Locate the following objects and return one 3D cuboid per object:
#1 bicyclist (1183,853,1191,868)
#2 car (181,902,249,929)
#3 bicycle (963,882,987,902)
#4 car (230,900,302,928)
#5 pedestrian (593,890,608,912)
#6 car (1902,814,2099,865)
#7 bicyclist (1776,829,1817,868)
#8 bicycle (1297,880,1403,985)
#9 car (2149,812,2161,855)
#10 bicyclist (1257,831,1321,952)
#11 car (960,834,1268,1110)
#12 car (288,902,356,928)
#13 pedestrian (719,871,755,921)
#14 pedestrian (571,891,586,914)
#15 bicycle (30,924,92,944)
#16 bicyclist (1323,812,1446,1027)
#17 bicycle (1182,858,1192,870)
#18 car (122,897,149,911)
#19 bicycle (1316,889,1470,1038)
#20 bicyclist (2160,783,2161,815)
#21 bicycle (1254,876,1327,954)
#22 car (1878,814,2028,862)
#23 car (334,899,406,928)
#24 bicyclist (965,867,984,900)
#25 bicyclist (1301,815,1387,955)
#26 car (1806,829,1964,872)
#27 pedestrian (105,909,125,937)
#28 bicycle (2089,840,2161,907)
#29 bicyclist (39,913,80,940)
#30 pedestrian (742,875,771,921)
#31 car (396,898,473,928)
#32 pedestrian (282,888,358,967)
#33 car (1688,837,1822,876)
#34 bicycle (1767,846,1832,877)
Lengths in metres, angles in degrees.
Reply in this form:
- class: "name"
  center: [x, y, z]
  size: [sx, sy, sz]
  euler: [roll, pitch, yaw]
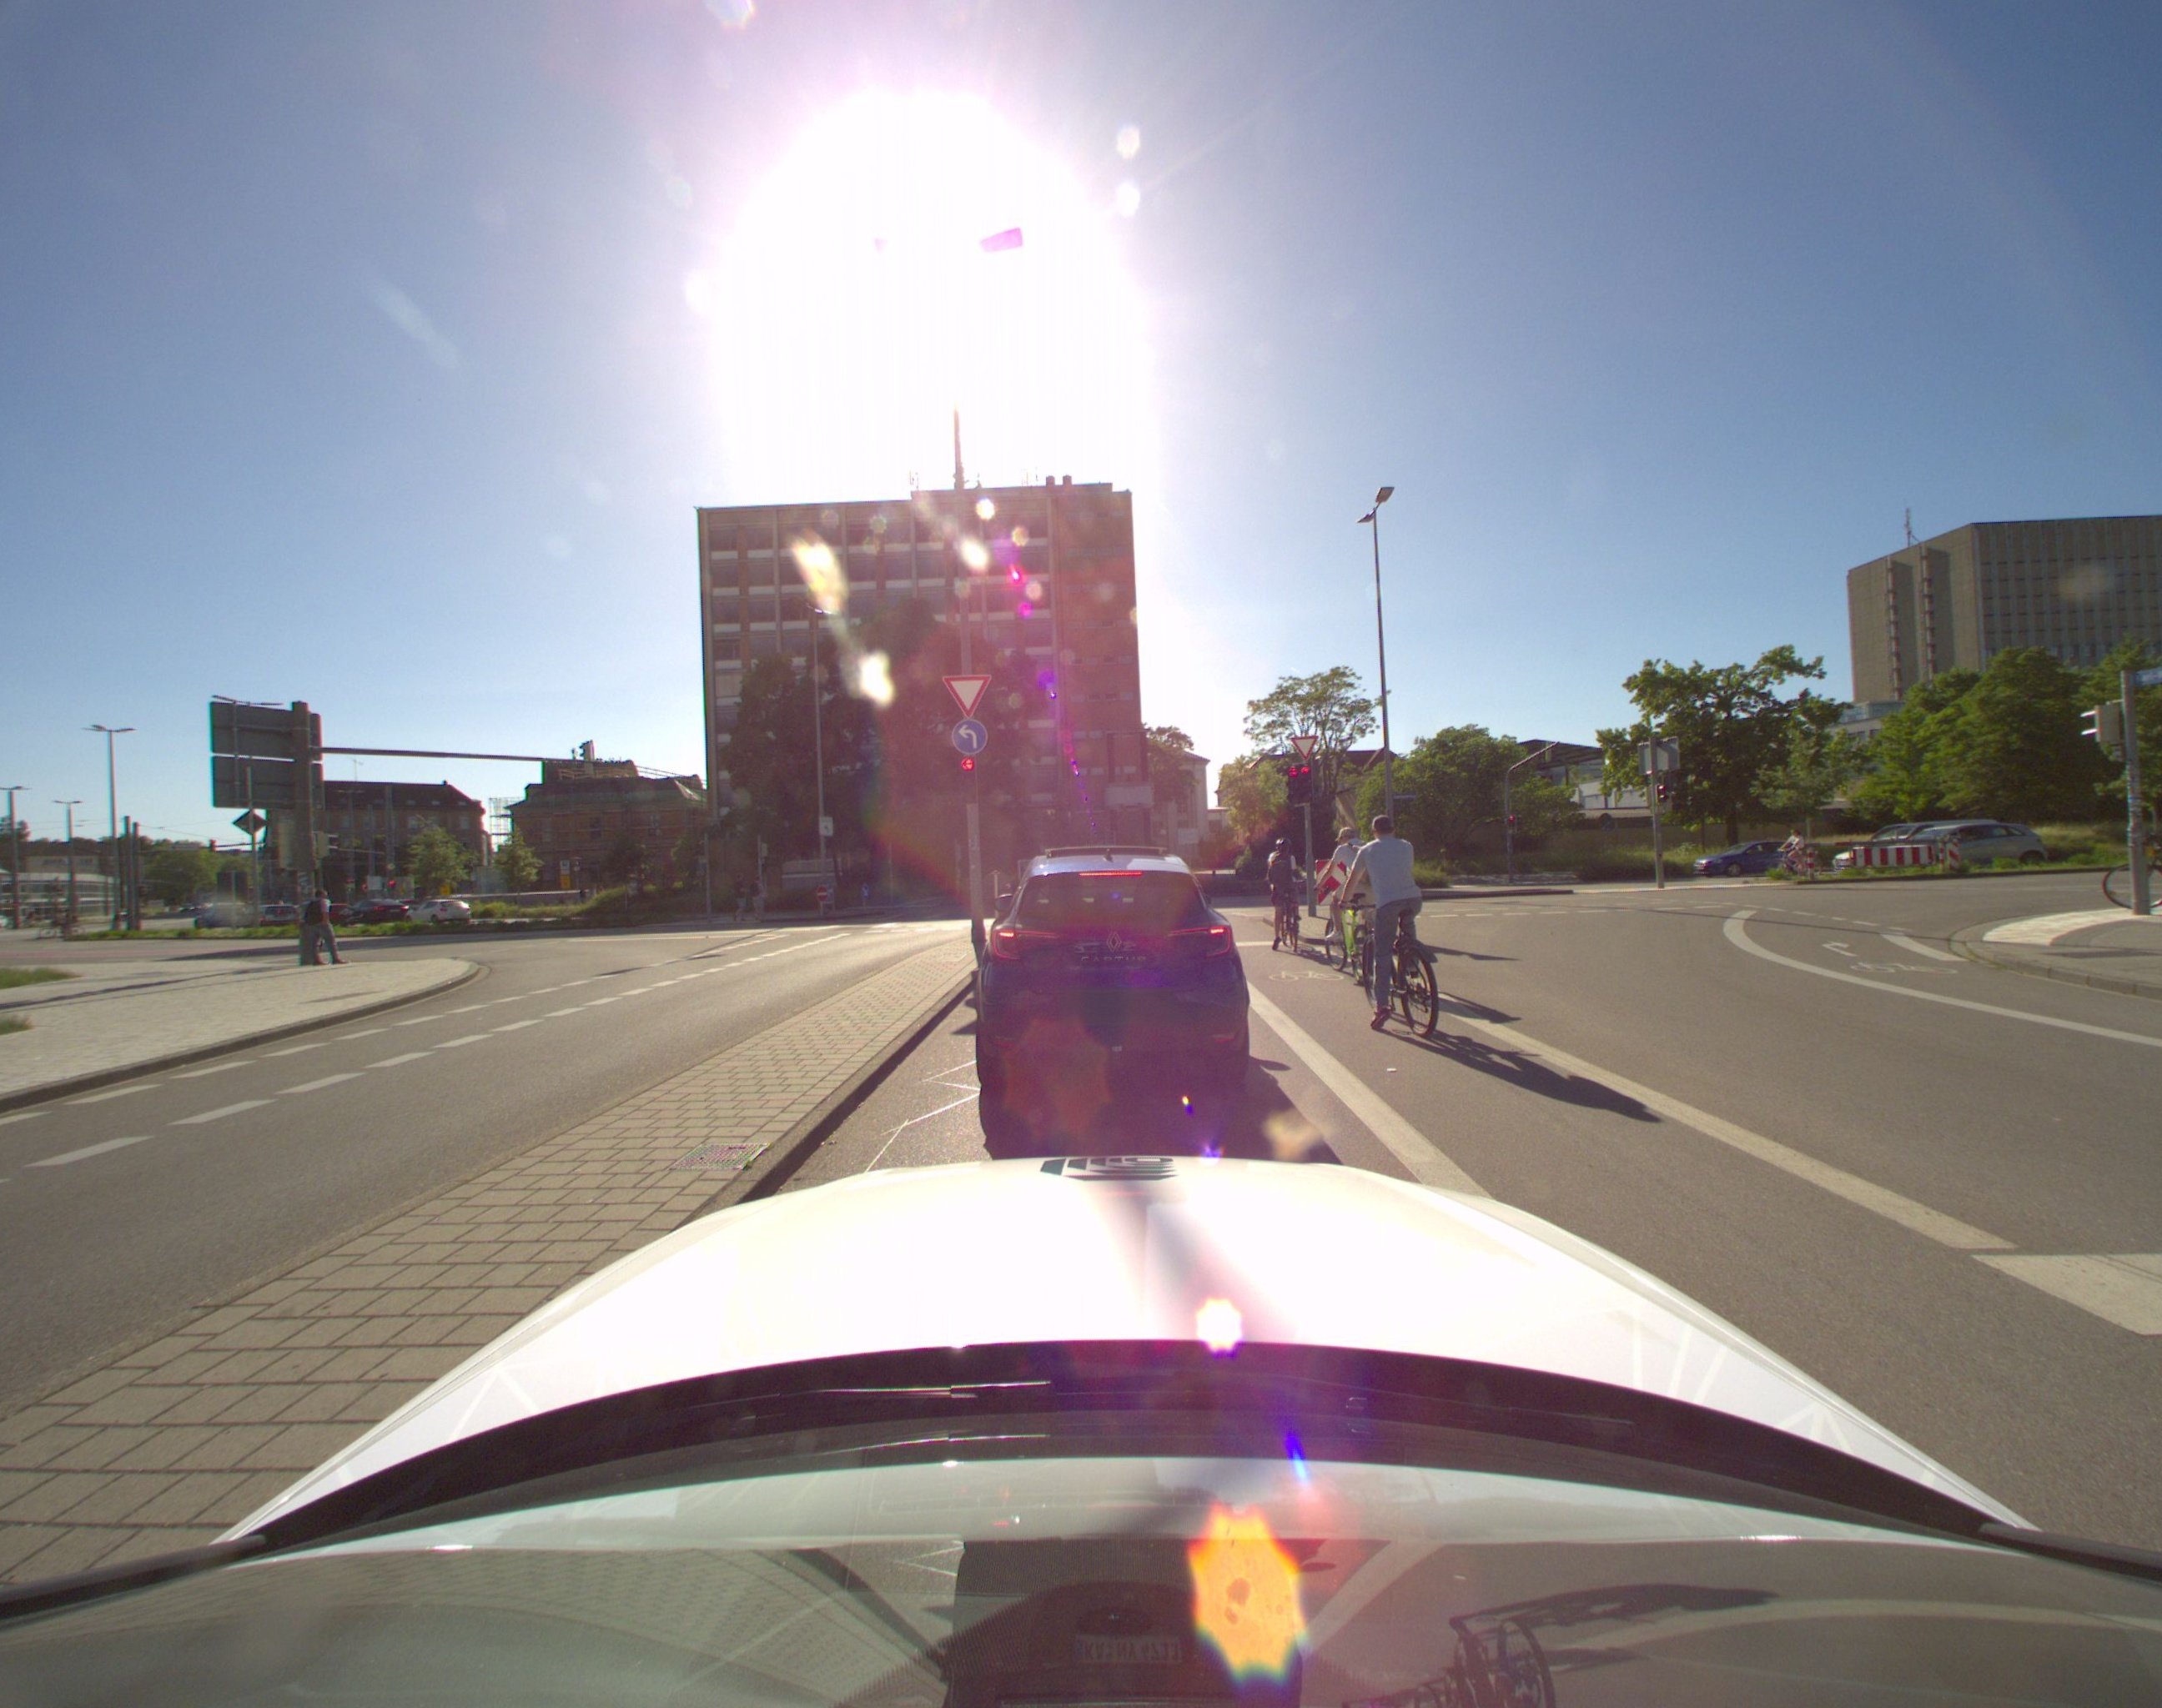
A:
- class: "bicyclist"
  center: [11.007, 0.659, 84.317]
  size: [0.692, 1.481, 0.717]
  euler: [-2, -1, 1]
- class: "car"
  center: [-54.910, 3.892, 51.643]
  size: [3.834, 1.508, 1.805]
  euler: [-3, -1, 25]
- class: "bicycle"
  center: [-5.725, 2.044, 44.175]
  size: [0.751, 0.985, 2.098]
  euler: [-2, 0, 8]
- class: "car"
  center: [-48.861, 3.605, 48.810]
  size: [3.834, 1.508, 1.805]
  euler: [-3, -1, 25]
- class: "pedestrian"
  center: [-39.552, 3.850, 67.019]
  size: [0.678, 1.730, 0.761]
  euler: [-2, -1, -1]
- class: "car"
  center: [29.222, -0.433, 26.003]
  size: [3.965, 1.398, 1.798]
  euler: [-3, -1, 7]
- class: "bicyclist"
  center: [25.410, -0.180, 28.938]
  size: [0.870, 1.343, 0.612]
  euler: [-2, -1, 7]
- class: "bicycle"
  center: [3.198, 0.890, 9.882]
  size: [0.687, 1.089, 1.923]
  euler: [-1, 0, 2]
- class: "car"
  center: [36.903, -0.763, 25.332]
  size: [4.534, 1.398, 1.798]
  euler: [-3, -1, 7]
- class: "bicyclist"
  center: [3.213, 0.559, 12.651]
  size: [0.697, 1.791, 1.142]
  euler: [-1, -1, 2]
- class: "car"
  center: [0.198, 0.705, 6.769]
  size: [1.783, 1.585, 3.913]
  euler: [-1, 0, 0]
- class: "car"
  center: [-48.204, 3.870, 51.715]
  size: [3.834, 1.508, 1.805]
  euler: [-3, -1, 25]
- class: "pedestrian"
  center: [-13.293, 1.630, 31.467]
  size: [0.807, 1.862, 0.913]
  euler: [-3, -1, 15]
- class: "pedestrian"
  center: [-39.911, 3.834, 64.717]
  size: [0.680, 1.730, 0.759]
  euler: [-2, -1, -7]
- class: "bicycle"
  center: [-65.860, 5.167, 52.615]
  size: [0.800, 1.062, 2.434]
  euler: [-1, -1, 42]
- class: "bicyclist"
  center: [2.726, 0.555, 7.429]
  size: [0.680, 1.791, 1.142]
  euler: [-1, -1, 2]
- class: "bicycle"
  center: [11.021, 1.043, 84.583]
  size: [0.692, 1.140, 2.441]
  euler: [-2, 0, 1]
- class: "car"
  center: [-153.163, 8.148, 131.973]
  size: [2.008, 2.014, 3.956]
  euler: [0, -1, -35]
- class: "bicycle"
  center: [2.725, 0.899, 7.350]
  size: [0.687, 1.089, 1.923]
  euler: [-1, 0, 2]
- class: "bicyclist"
  center: [16.027, -0.225, 11.475]
  size: [0.635, 1.646, 0.903]
  euler: [-2, -1, -39]
- class: "bicycle"
  center: [3.259, 0.919, 12.850]
  size: [0.687, 1.089, 1.923]
  euler: [-1, 0, 2]
- class: "car"
  center: [35.873, -0.618, 33.609]
  size: [3.965, 1.749, 1.798]
  euler: [-3, -1, 7]
- class: "car"
  center: [-42.548, 3.564, 48.745]
  size: [3.834, 1.508, 1.805]
  euler: [-3, -1, 25]
- class: "bicyclist"
  center: [-5.758, 1.609, 44.074]
  size: [0.751, 1.716, 1.001]
  euler: [-2, -1, 7]
- class: "bicyclist"
  center: [3.174, 0.357, 9.928]
  size: [0.676, 1.594, 1.142]
  euler: [-1, -1, 2]
- class: "car"
  center: [30.298, -0.136, 30.794]
  size: [3.965, 1.398, 1.798]
  euler: [-3, -1, 7]
- class: "pedestrian"
  center: [-63.292, 4.490, 53.368]
  size: [0.697, 1.762, 0.781]
  euler: [-3, -1, 42]
- class: "bicycle"
  center: [15.916, 0.268, 11.628]
  size: [0.640, 0.958, 1.866]
  euler: [-2, -1, -39]
- class: "bicyclist"
  center: [-65.921, 4.654, 52.562]
  size: [0.800, 1.634, 1.585]
  euler: [-1, -1, 41]
- class: "pedestrian"
  center: [-12.436, 1.680, 31.218]
  size: [0.675, 1.730, 0.764]
  euler: [-3, -1, 15]
- class: "car"
  center: [-36.392, 3.337, 45.840]
  size: [3.834, 1.508, 1.805]
  euler: [-3, -1, 25]
- class: "pedestrian"
  center: [-17.724, 1.681, 18.977]
  size: [0.647, 1.730, 1.066]
  euler: [-3, -1, 15]
- class: "car"
  center: [28.137, 0.106, 34.108]
  size: [3.965, 1.398, 1.798]
  euler: [-3, -1, 7]
- class: "bicycle"
  center: [25.506, 0.261, 28.929]
  size: [1.673, 1.033, 0.612]
  euler: [-2, -1, 7]
